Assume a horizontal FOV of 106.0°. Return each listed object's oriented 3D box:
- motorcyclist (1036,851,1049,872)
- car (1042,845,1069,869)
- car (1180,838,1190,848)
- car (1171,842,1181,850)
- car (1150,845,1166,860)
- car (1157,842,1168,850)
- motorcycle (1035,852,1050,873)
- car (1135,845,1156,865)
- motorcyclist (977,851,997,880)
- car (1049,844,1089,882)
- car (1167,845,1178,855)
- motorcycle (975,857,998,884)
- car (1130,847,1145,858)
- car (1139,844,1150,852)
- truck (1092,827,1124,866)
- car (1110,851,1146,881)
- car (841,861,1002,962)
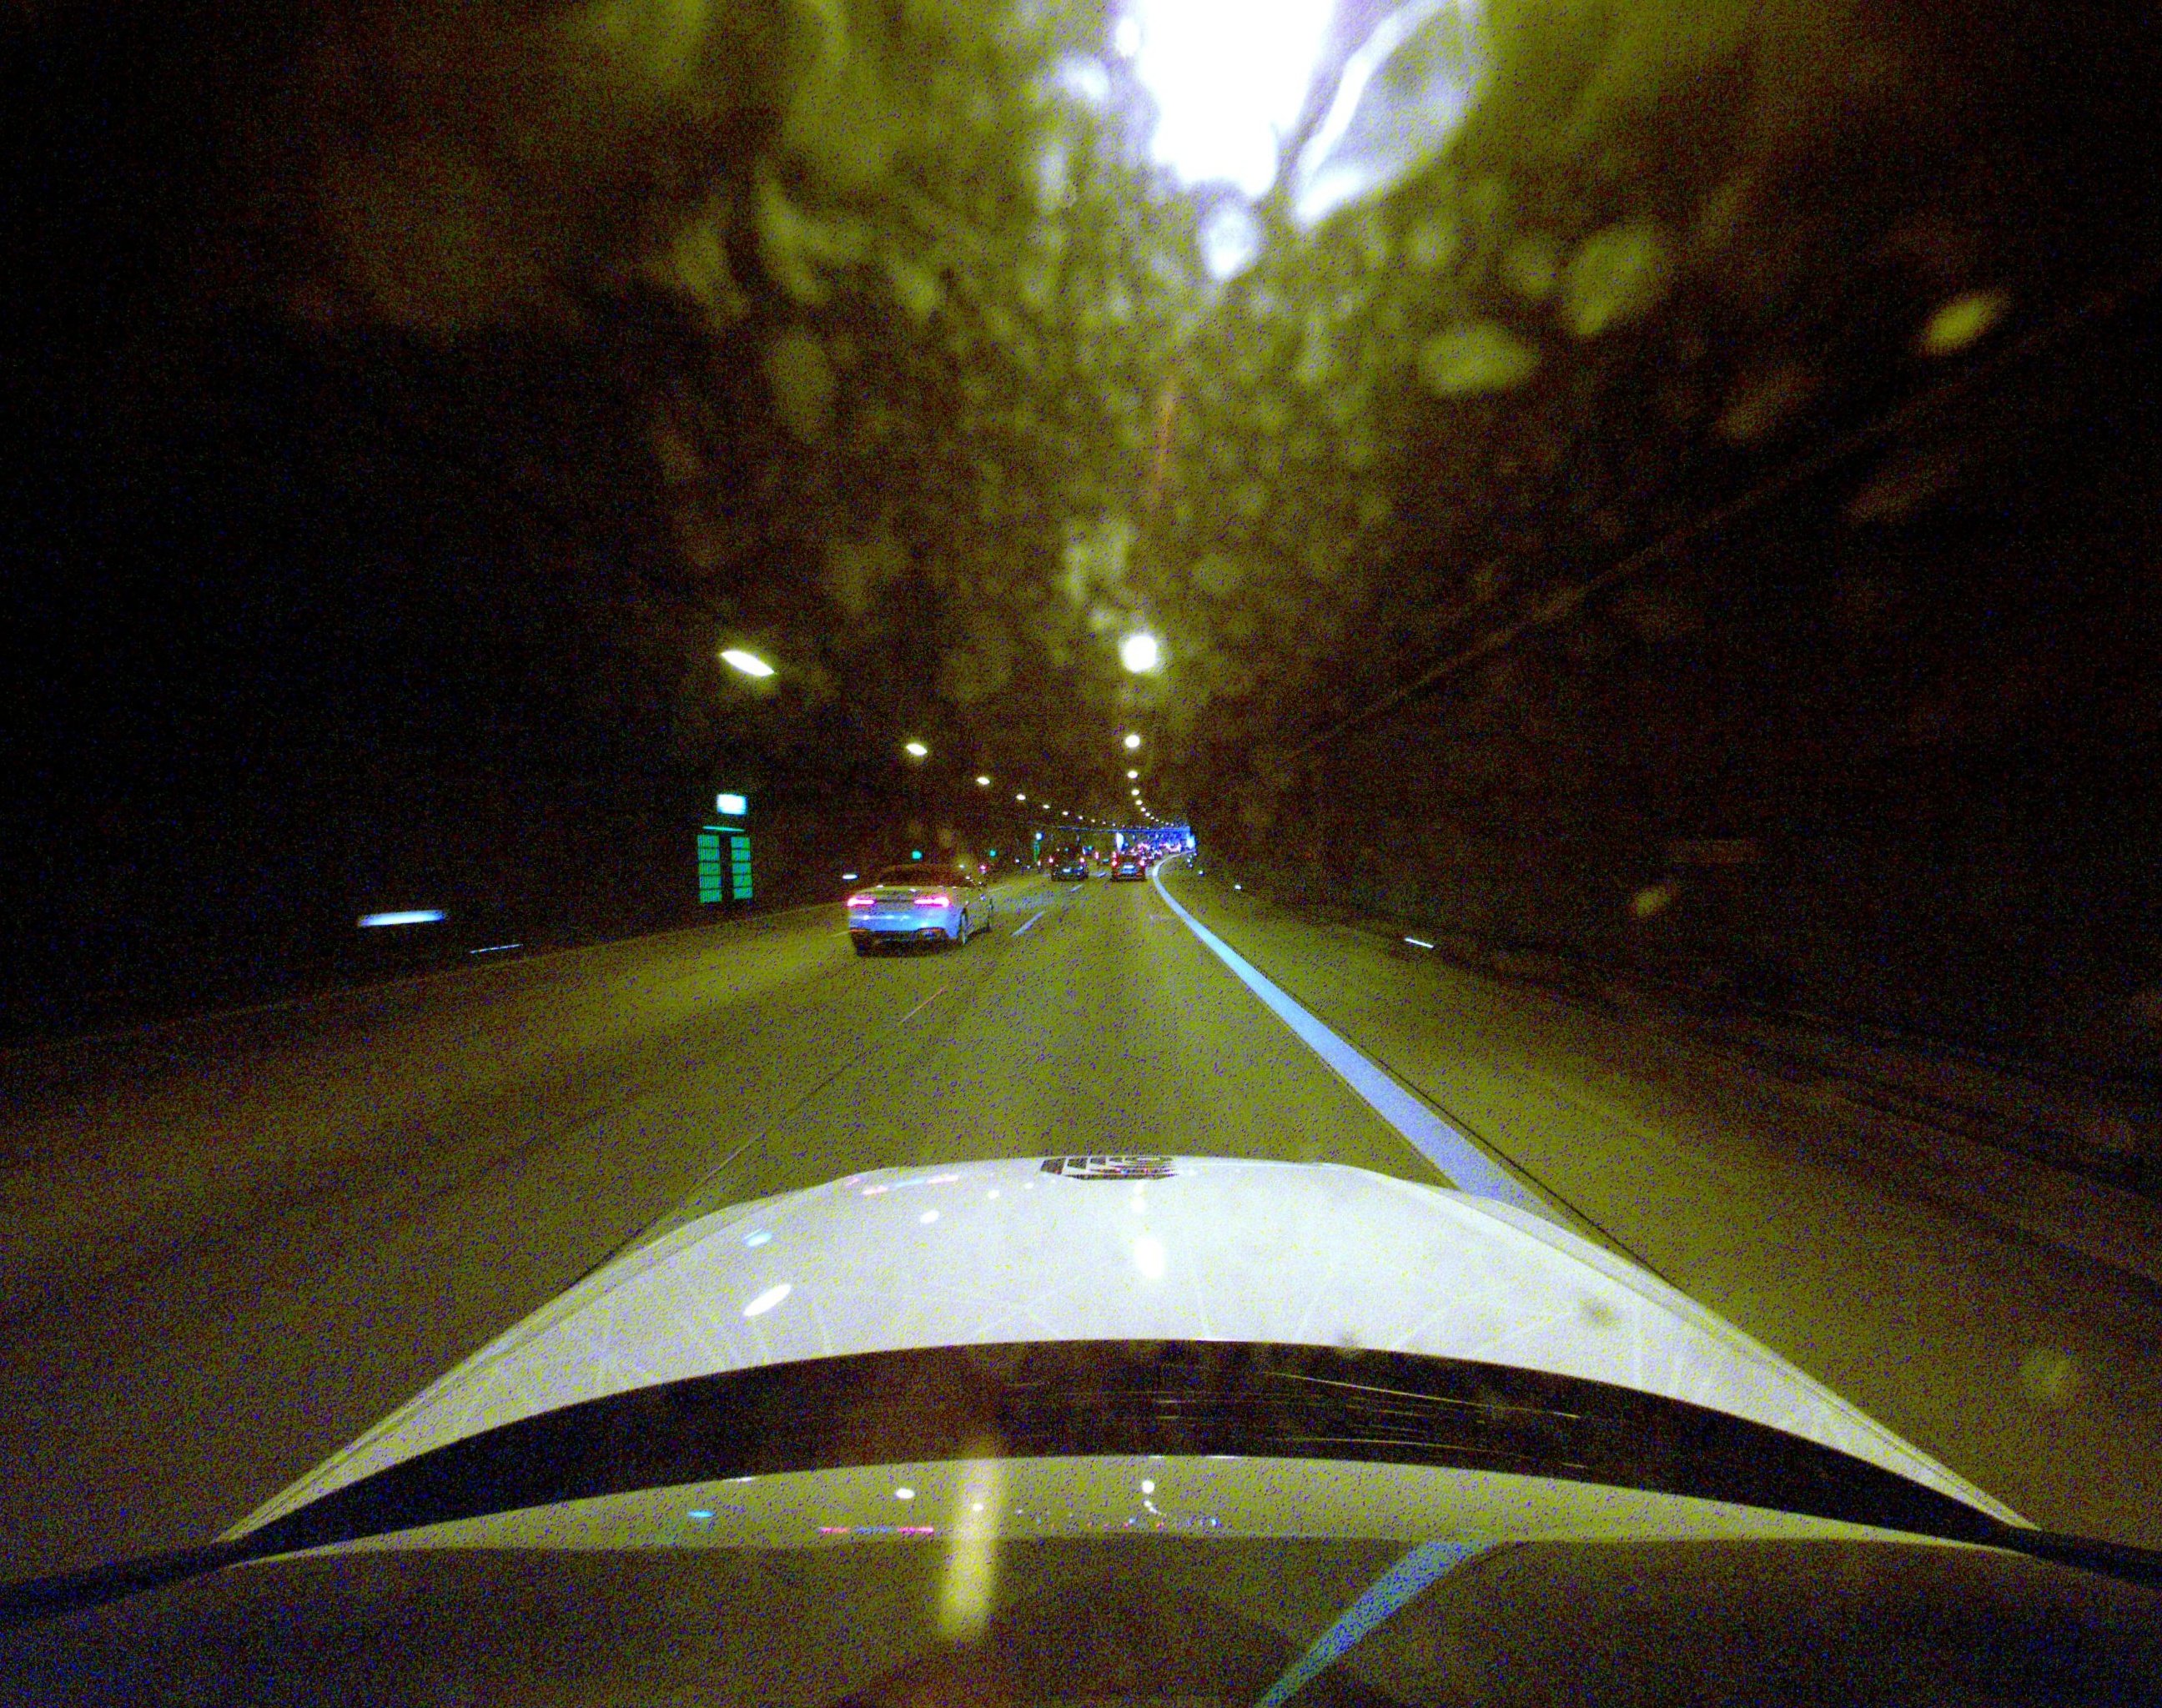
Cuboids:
[{"bbox_3d":[-2.707,0.539,57.190,0.803,1.448,1.865,-1,-2,1],"label":"motorcyclist"},{"bbox_3d":[-2.297,0.259,73.847,1.984,2.013,4.005,-1,0,5],"label":"car"},{"bbox_3d":[21.626,-2.261,168.718,1.982,2.014,4.009,-1,-1,9],"label":"car"},{"bbox_3d":[21.007,-1.662,179.995,1.982,1.632,4.010,-1,-1,9],"label":"car"},{"bbox_3d":[9.740,-0.142,102.937,1.941,1.772,4.004,-1,-1,4],"label":"car"},{"bbox_3d":[18.804,-1.790,187.527,1.917,1.643,4.015,-1,-1,14],"label":"car"},{"bbox_3d":[-2.699,0.619,57.145,0.923,1.434,2.963,0,-1,0],"label":"motorcycle"},{"bbox_3d":[6.035,0.109,76.654,1.849,1.854,4.004,-1,0,3],"label":"car"},{"bbox_3d":[-4.801,0.608,41.547,0.773,1.453,1.070,-1,-2,5],"label":"motorcyclist"},{"bbox_3d":[-0.621,0.439,45.030,1.902,1.944,3.874,-1,1,3],"label":"car"},{"bbox_3d":[15.951,-0.655,141.844,1.920,1.643,4.008,-1,-1,7],"label":"car"},{"bbox_3d":[-4.801,0.828,41.544,0.679,1.297,2.402,-1,-1,5],"label":"motorcycle"},{"bbox_3d":[8.642,-0.270,123.974,1.983,1.632,4.008,-1,0,7],"label":"car"},{"bbox_3d":[12.473,-1.187,160.179,1.920,1.642,4.008,-1,0,7],"label":"car"},{"bbox_3d":[2.710,-0.700,82.438,3.027,3.673,7.395,-1,0,2],"label":"truck"},{"bbox_3d":[2.579,0.631,43.965,1.734,1.464,3.877,-1,1,5],"label":"car"},{"bbox_3d":[-2.650,0.888,14.788,1.695,1.419,5.063,-1,0,2],"label":"car"}]
